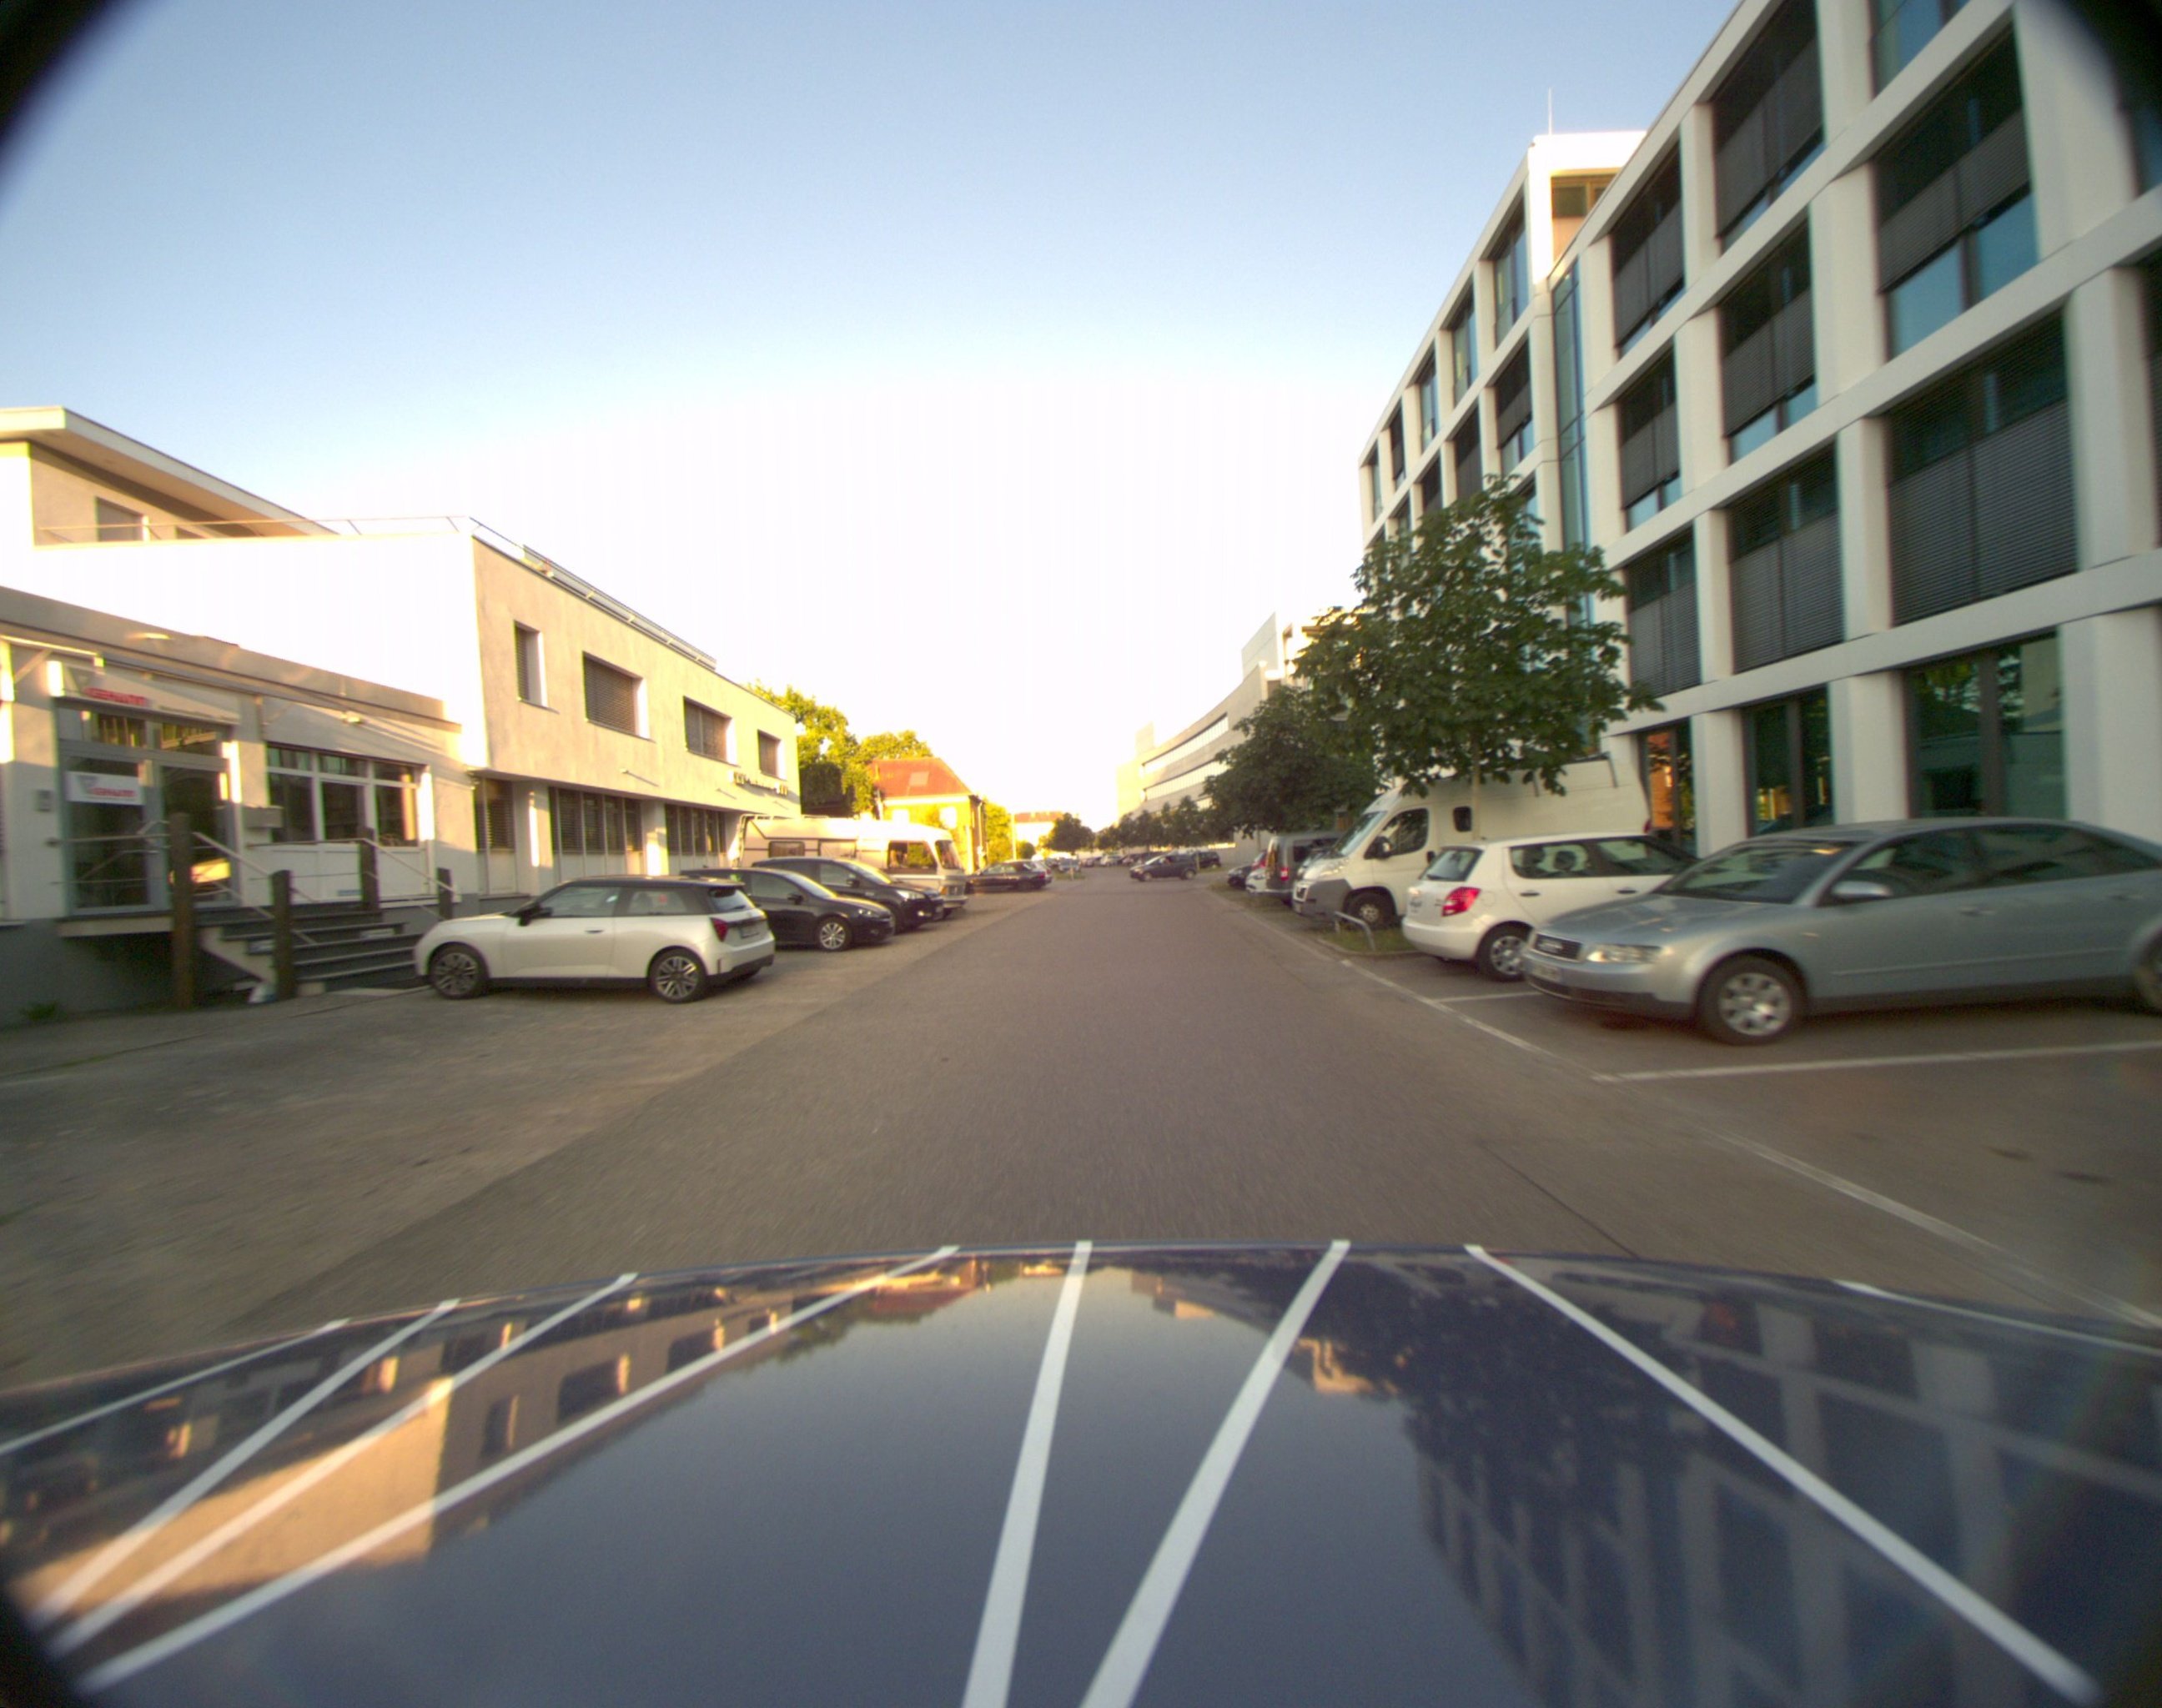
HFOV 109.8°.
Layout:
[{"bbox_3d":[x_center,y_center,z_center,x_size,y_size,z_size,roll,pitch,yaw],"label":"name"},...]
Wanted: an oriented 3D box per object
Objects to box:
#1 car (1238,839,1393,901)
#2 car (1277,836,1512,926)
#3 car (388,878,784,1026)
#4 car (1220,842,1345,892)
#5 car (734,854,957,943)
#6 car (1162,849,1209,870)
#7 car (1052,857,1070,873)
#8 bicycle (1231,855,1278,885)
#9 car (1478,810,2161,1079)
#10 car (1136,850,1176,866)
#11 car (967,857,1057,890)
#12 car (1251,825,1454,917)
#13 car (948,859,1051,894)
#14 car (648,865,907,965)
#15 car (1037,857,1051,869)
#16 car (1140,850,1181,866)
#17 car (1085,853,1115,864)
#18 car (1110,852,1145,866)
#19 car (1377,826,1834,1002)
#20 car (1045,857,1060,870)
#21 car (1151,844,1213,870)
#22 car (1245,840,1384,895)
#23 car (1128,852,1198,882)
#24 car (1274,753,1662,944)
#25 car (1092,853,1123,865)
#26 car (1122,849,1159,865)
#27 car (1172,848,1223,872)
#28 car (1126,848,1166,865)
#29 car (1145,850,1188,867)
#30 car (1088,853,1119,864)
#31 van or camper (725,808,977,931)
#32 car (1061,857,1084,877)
[{"bbox_3d":[7.049,0.480,23.148,4.118,1.509,1.781,-4,0,3],"label":"car"},{"bbox_3d":[6.439,0.535,15.939,4.119,1.490,1.774,-4,0,-1],"label":"car"},{"bbox_3d":[-5.901,1.132,9.408,3.714,1.470,1.712,-2,0,0],"label":"car"},{"bbox_3d":[7.452,0.478,28.454,4.118,1.509,1.845,-4,0,2],"label":"car"},{"bbox_3d":[-5.143,0.960,16.956,4.249,1.731,1.968,-2,1,6],"label":"car"},{"bbox_3d":[8.902,0.458,64.995,3.654,1.416,1.725,-5,0,1],"label":"car"},{"bbox_3d":[-2.144,1.136,79.993,1.770,1.454,4.367,-2,0,-2],"label":"car"},{"bbox_3d":[7.003,0.639,30.676,1.699,1.059,0.566,-4,0,4],"label":"bicycle"},{"bbox_3d":[5.676,0.584,5.731,4.317,1.486,1.795,-4,0,5],"label":"car"},{"bbox_3d":[7.860,0.424,79.980,3.812,1.353,1.799,-5,0,-3],"label":"car"},{"bbox_3d":[-3.217,0.912,36.200,4.066,1.399,1.896,-2,0,0],"label":"car"},{"bbox_3d":[6.401,0.392,18.265,4.119,1.806,1.816,-4,0,-1],"label":"car"},{"bbox_3d":[-3.571,0.969,33.788,4.326,1.326,1.896,-2,1,0],"label":"car"},{"bbox_3d":[-5.417,1.059,13.977,4.015,1.554,1.711,-2,0,-2],"label":"car"},{"bbox_3d":[-4.794,1.127,99.026,1.770,1.454,4.367,-2,0,-2],"label":"car"},{"bbox_3d":[8.082,0.397,77.522,3.812,1.353,1.799,-5,0,-3],"label":"car"},{"bbox_3d":[2.786,0.679,110.623,4.028,1.340,1.798,-5,0,-9],"label":"car"},{"bbox_3d":[5.886,0.614,95.586,4.028,1.340,1.798,-5,0,-9],"label":"car"},{"bbox_3d":[5.485,0.603,8.355,3.716,1.486,1.708,-4,0,3],"label":"car"},{"bbox_3d":[-3.492,1.115,92.332,1.770,1.454,4.367,-2,0,-2],"label":"car"},{"bbox_3d":[8.929,0.245,67.680,5.082,1.870,1.889,-5,0,-3],"label":"car"},{"bbox_3d":[7.842,0.433,25.833,4.118,1.509,1.845,-4,0,3],"label":"car"},{"bbox_3d":[4.759,0.748,44.408,3.736,1.486,1.648,-3,0,-6],"label":"car"},{"bbox_3d":[6.314,-0.056,13.010,5.393,2.617,2.079,-4,0,4],"label":"car"},{"bbox_3d":[3.667,0.652,106.003,4.028,1.340,1.798,-5,0,-9],"label":"car"},{"bbox_3d":[7.065,0.355,90.686,4.028,1.574,1.798,-5,0,-9],"label":"car"},{"bbox_3d":[9.091,0.430,59.628,3.654,1.538,1.726,-5,0,2],"label":"car"},{"bbox_3d":[7.323,0.281,85.625,4.028,1.574,1.798,-5,0,-9],"label":"car"},{"bbox_3d":[8.395,0.440,74.731,3.812,1.353,1.799,-5,0,-3],"label":"car"},{"bbox_3d":[3.238,0.646,108.170,4.028,1.340,1.798,-5,0,-9],"label":"car"},{"bbox_3d":[-5.874,0.383,20.097,5.795,2.848,2.486,-2,1,0],"label":"van or camper"},{"bbox_3d":[-0.645,0.983,61.088,1.680,1.454,4.368,-2,0,1],"label":"car"}]
